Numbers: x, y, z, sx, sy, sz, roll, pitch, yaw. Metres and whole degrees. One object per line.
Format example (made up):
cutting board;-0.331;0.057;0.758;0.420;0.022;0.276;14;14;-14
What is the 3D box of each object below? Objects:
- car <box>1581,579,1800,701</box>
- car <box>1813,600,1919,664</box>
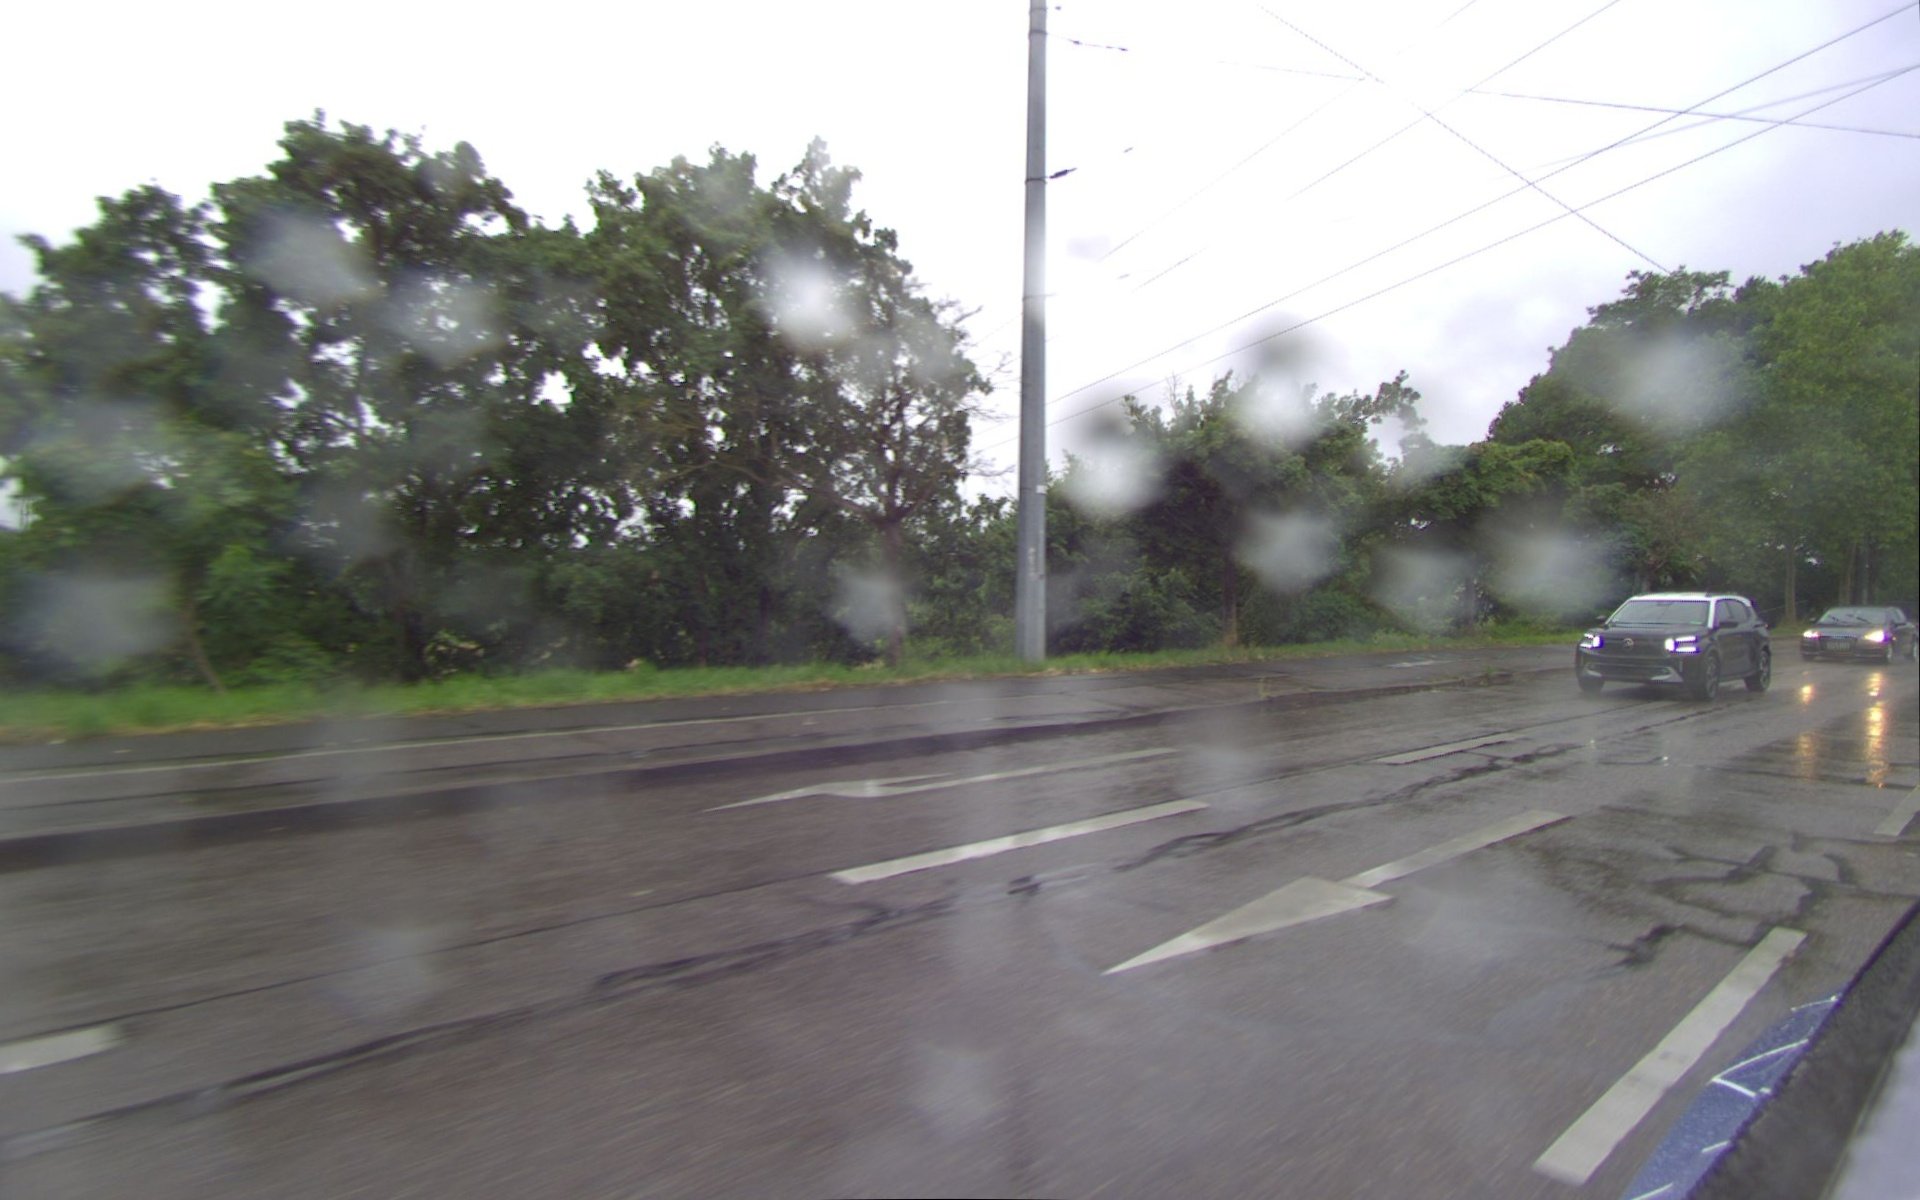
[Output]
car;12.037;0.590;16.553;4.677;1.724;1.796;1;-1;-40
car;22.977;0.761;25.359;3.928;1.445;1.783;1;0;-40
